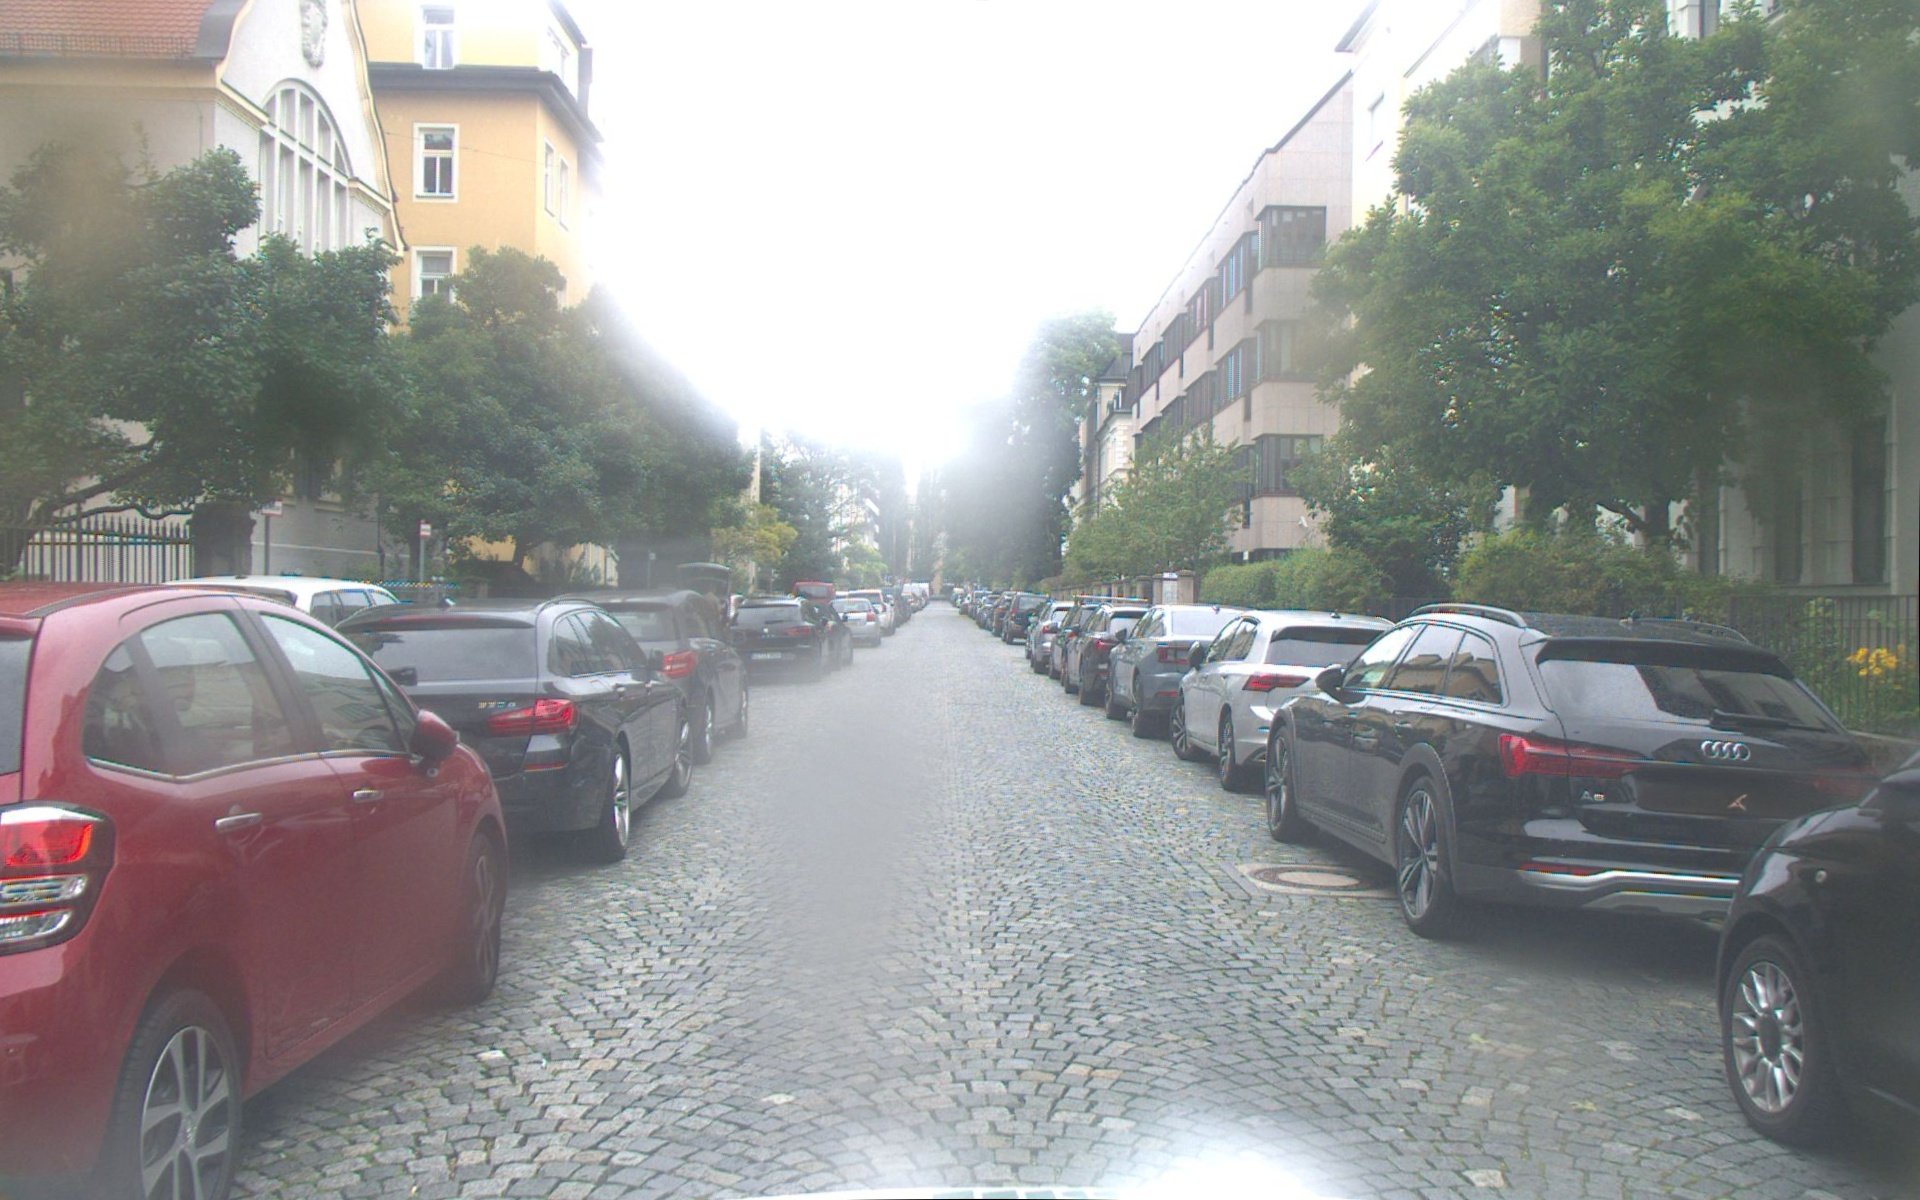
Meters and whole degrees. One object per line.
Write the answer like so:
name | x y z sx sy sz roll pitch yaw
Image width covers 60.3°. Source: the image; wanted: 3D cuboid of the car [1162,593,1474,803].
car | 2.973 0.735 14.712 1.720 1.485 4.480 3 0 0

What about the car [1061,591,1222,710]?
car | 2.637 0.687 25.091 1.782 1.514 5.049 3 0 0

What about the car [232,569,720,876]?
car | -2.762 0.601 10.750 1.832 1.496 5.131 -1 0 -2

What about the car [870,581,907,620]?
car | -3.819 0.023 88.743 1.835 1.950 4.826 -2 0 -2

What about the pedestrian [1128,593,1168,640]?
pedestrian | 6.286 0.540 55.273 1.192 1.519 1.129 -2 0 1

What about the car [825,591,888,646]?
car | -3.137 0.530 50.807 1.679 1.589 4.389 -1 0 -1

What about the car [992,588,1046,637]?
car | 2.287 0.474 65.105 1.823 1.731 4.812 4 0 -1

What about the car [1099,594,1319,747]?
car | 2.848 0.747 19.960 1.844 1.514 4.813 3 0 0

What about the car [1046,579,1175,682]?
car | 2.673 0.521 30.296 1.855 1.682 4.293 2 0 -1

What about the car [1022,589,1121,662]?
car | 2.654 0.582 40.456 1.953 1.579 5.013 3 0 -1

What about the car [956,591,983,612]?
car | 0.758 0.088 132.070 1.836 1.529 4.509 3 0 -3

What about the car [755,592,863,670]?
car | -3.128 0.614 35.079 1.777 1.480 4.912 -2 0 0

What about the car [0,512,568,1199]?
car | -2.516 0.659 4.970 1.804 1.613 4.190 -1 0 -2

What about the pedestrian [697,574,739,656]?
pedestrian | -5.075 0.310 34.717 0.750 1.679 0.582 1 0 0

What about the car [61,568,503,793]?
car | -5.246 0.551 13.515 1.804 1.491 4.389 2 0 -1

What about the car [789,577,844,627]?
car | -6.005 0.057 69.824 1.954 1.964 5.329 2 0 -2

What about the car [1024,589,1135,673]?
car | 2.458 0.603 35.187 1.953 1.579 4.986 2 0 0

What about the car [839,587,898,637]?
car | -3.517 0.436 64.169 1.965 1.840 5.174 -1 0 0

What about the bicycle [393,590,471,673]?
bicycle | -8.500 0.482 26.711 0.593 1.281 2.060 1 0 -1

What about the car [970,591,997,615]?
car | 1.602 0.183 114.380 1.799 1.516 4.421 3 0 0

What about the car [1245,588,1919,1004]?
car | 2.977 0.772 9.045 1.866 1.529 5.105 3 0 0

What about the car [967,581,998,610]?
car | 1.586 -0.315 120.086 1.836 1.962 5.161 3 0 -3

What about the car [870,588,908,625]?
car | -3.621 0.325 83.620 1.828 1.765 4.401 -2 0 -3

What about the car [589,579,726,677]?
car | -5.380 0.468 29.928 1.704 1.563 4.465 2 0 -1

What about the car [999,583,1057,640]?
car | 2.288 0.373 56.637 1.586 1.781 3.886 3 0 -2

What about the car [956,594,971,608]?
car | 0.370 0.095 193.758 1.753 1.547 4.000 1 0 0

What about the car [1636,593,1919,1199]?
car | 3.181 0.797 3.776 1.633 1.534 3.685 3 0 -1

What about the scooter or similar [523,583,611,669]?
scooter or similar | -7.414 0.461 31.339 1.040 1.550 2.634 0 0 -1

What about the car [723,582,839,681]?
car | -3.179 0.525 30.085 1.704 1.631 4.536 -1 0 -1

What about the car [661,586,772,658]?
car | -5.381 0.455 37.087 1.739 1.441 4.561 2 0 0

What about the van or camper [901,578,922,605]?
van or camper | -5.072 -0.919 172.731 1.953 2.698 4.000 -2 0 0

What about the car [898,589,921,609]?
car | -4.298 -0.070 140.069 1.836 1.607 4.253 -2 0 -3

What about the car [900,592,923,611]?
car | -4.651 0.142 157.846 1.834 1.607 4.209 3 0 2

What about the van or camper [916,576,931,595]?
van or camper | -5.639 -2.237 257.434 2.210 2.790 5.097 1 0 -1

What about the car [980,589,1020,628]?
car | 1.945 0.406 81.540 1.835 1.765 4.892 3 0 1

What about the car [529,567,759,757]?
car | -2.958 0.527 16.279 1.705 1.613 4.189 -1 0 -4
